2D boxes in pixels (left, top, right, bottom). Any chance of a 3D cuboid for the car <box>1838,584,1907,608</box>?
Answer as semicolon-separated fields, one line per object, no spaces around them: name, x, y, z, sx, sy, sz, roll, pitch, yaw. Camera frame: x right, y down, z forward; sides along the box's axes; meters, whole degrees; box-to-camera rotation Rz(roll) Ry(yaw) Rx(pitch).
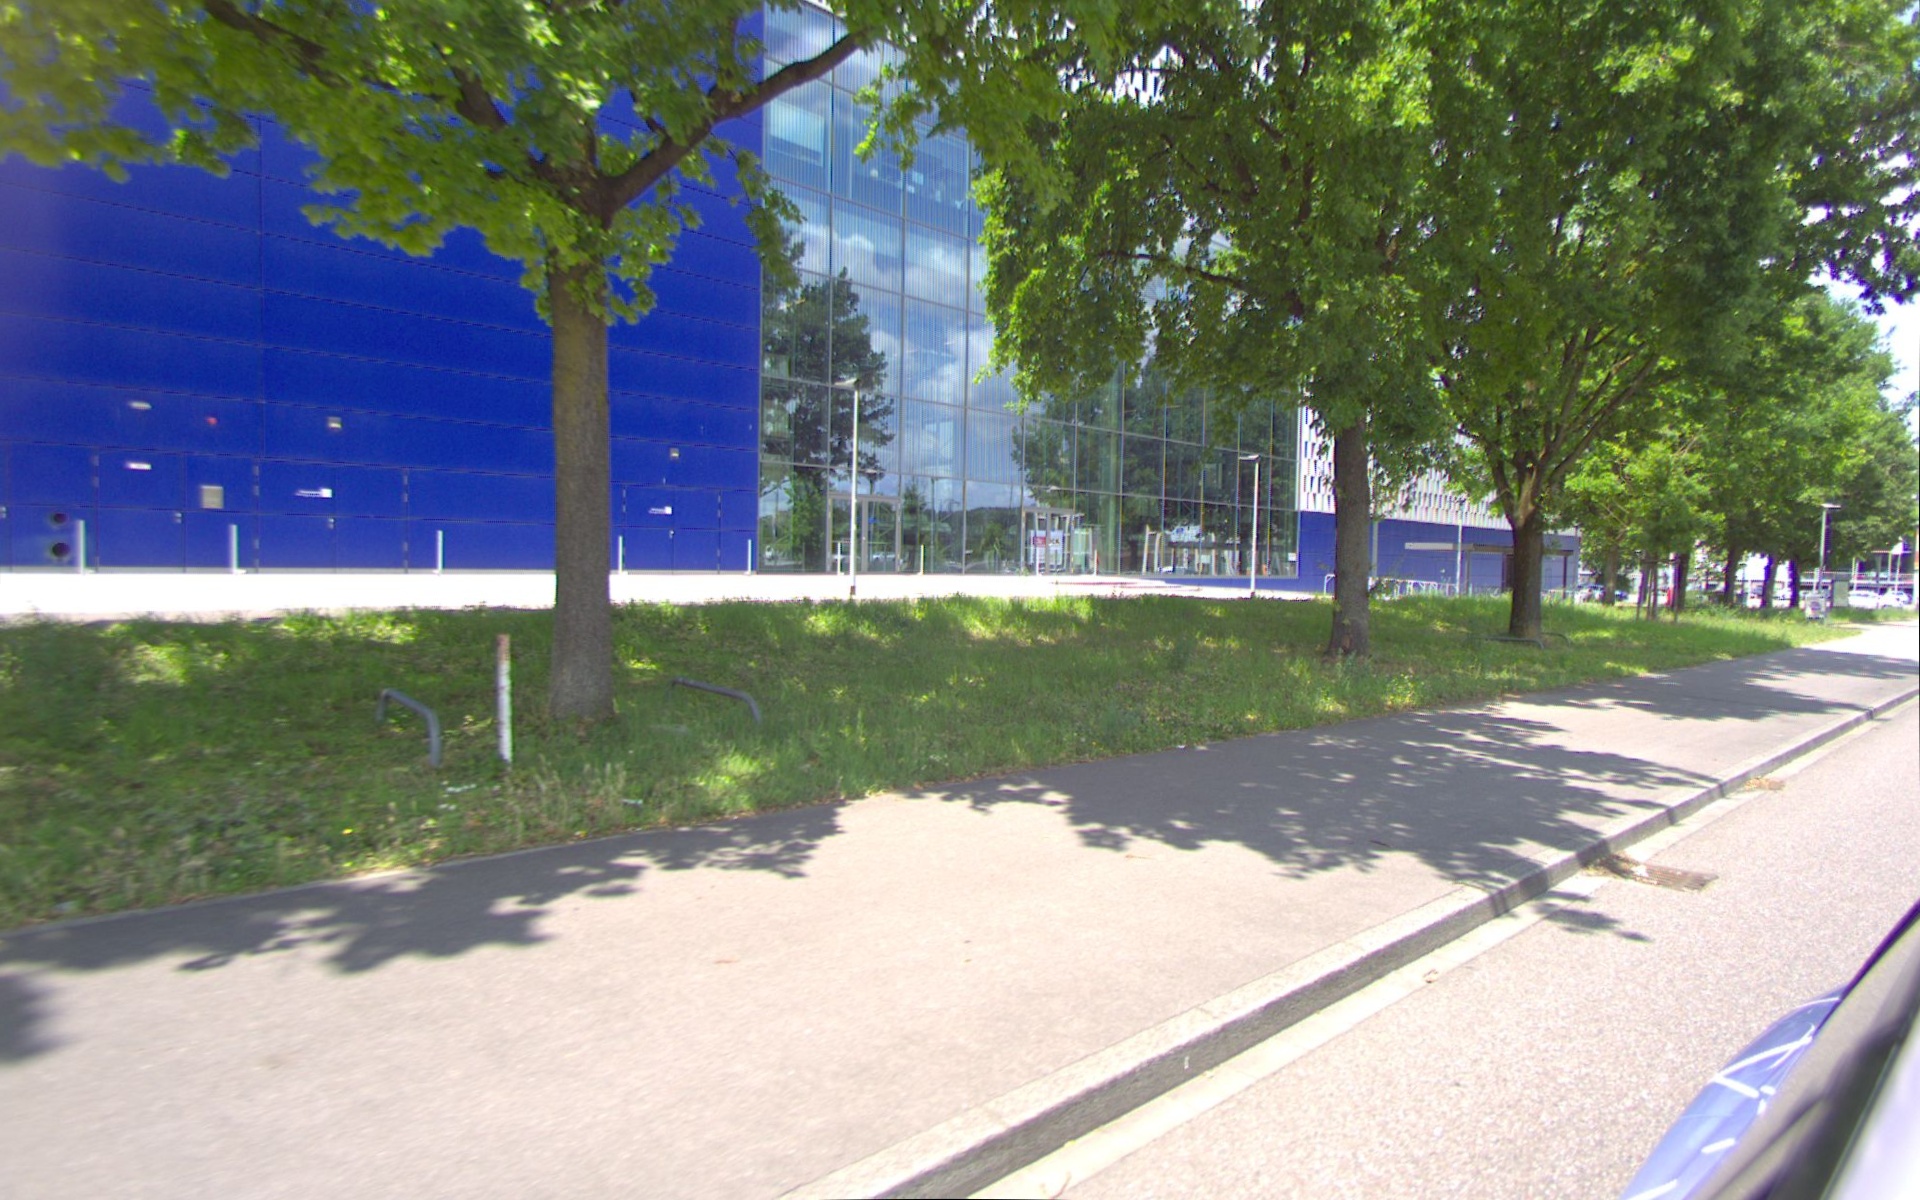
car;72.854;-0.318;80.808;3.987;1.712;1.830;4;3;43
